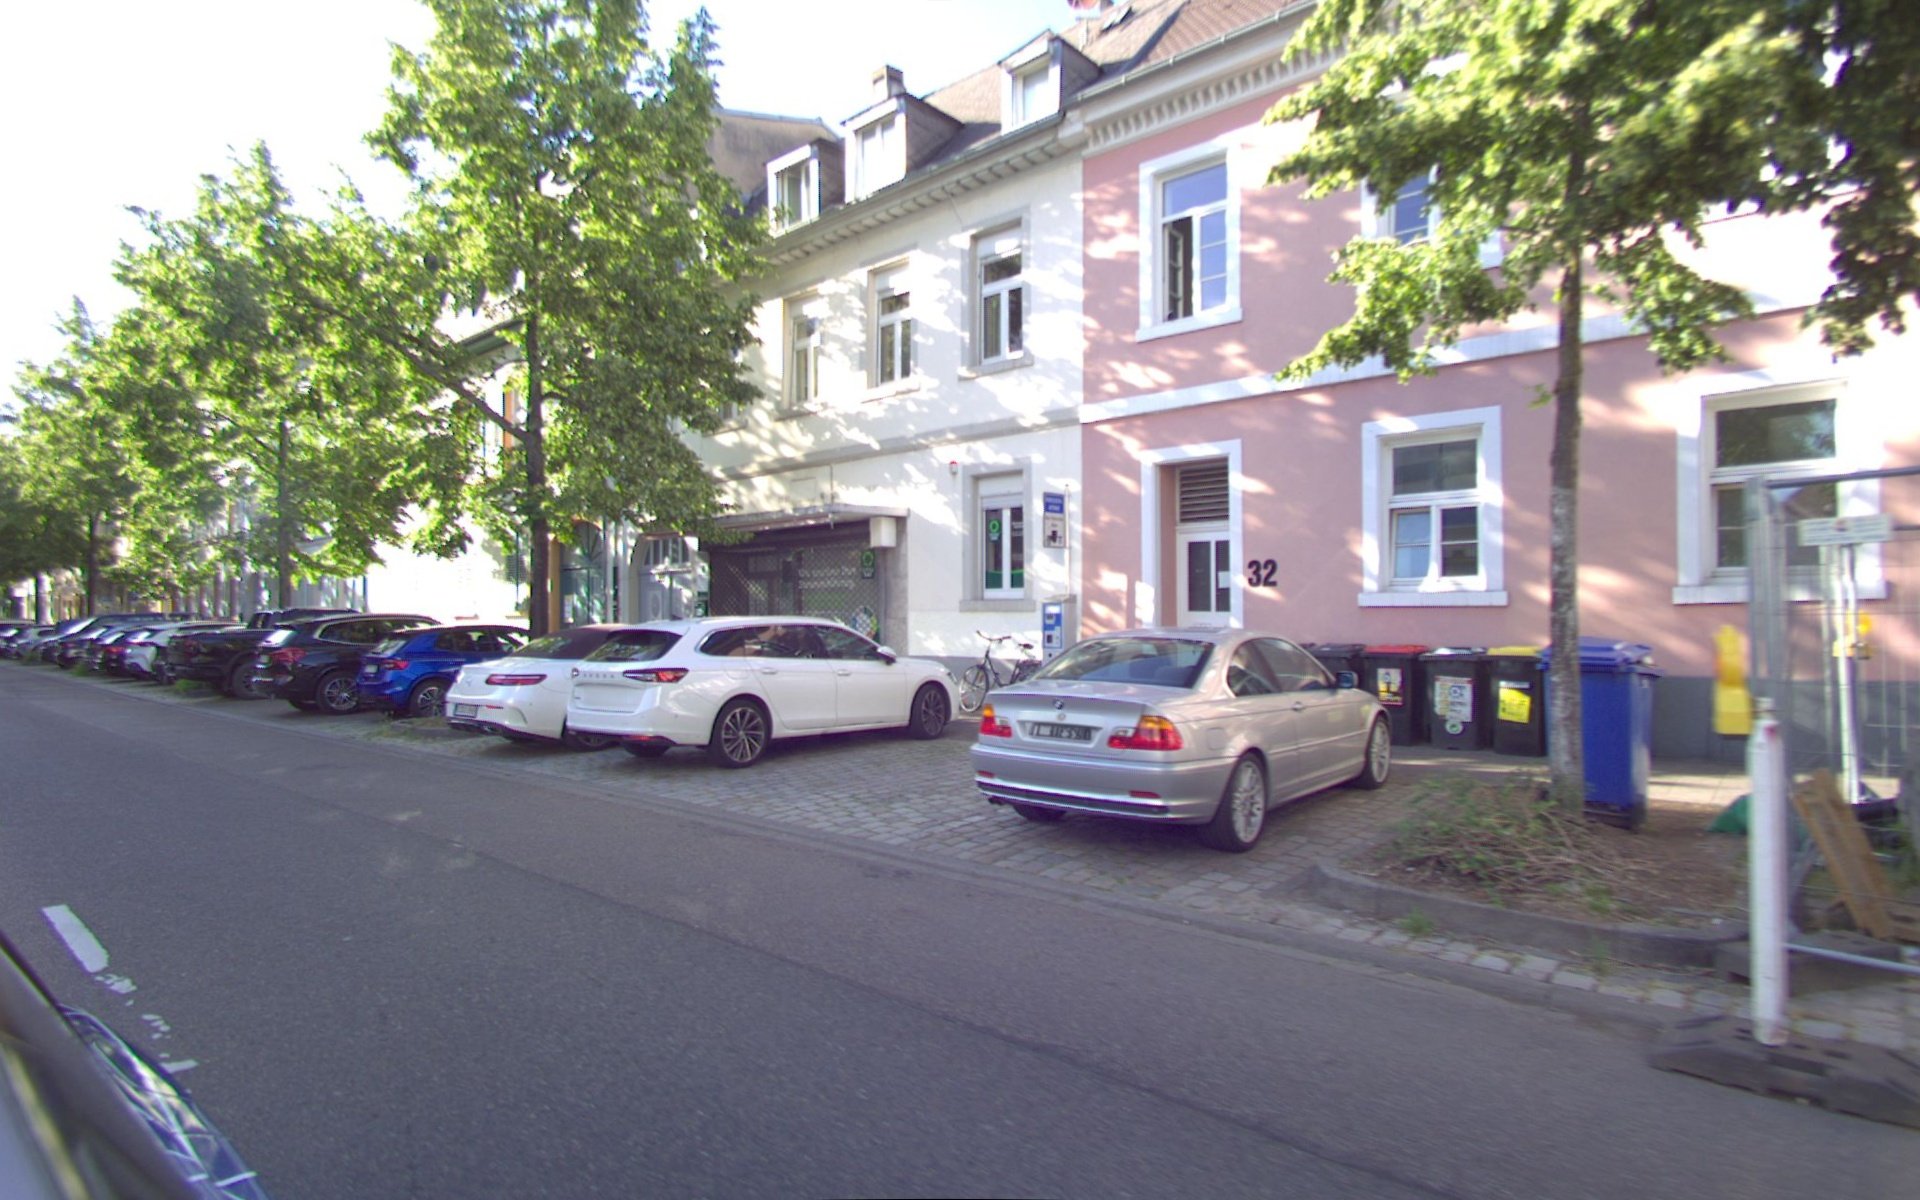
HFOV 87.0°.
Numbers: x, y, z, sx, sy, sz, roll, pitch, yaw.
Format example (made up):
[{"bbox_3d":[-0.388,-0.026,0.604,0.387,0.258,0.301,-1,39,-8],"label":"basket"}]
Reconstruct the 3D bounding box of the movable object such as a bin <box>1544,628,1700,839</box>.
[{"bbox_3d":[4.076,0.774,6.268,0.743,1.195,0.725,-1,-2,33],"label":"movable object such as a bin"}]

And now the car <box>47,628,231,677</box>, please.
[{"bbox_3d":[-27.565,1.705,34.109,1.683,1.470,4.597,-2,-1,41],"label":"car"}]

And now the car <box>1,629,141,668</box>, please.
[{"bbox_3d":[-39.190,2.099,44.700,1.915,1.552,4.420,-2,-1,40],"label":"car"}]

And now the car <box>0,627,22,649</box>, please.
[{"bbox_3d":[-70.954,2.828,72.963,1.997,1.503,4.656,0,1,37],"label":"car"}]

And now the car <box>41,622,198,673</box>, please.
[{"bbox_3d":[-32.175,1.774,38.833,1.916,1.785,4.417,-2,-1,43],"label":"car"}]

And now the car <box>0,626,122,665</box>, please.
[{"bbox_3d":[-42.482,2.104,47.740,1.916,1.722,4.294,-2,-1,41],"label":"car"}]

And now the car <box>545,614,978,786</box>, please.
[{"bbox_3d":[-1.961,0.925,11.265,1.807,1.476,4.632,-2,-1,40],"label":"car"}]

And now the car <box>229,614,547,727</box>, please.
[{"bbox_3d":[-10.031,1.135,18.046,1.808,1.706,4.629,-2,-1,43],"label":"car"}]

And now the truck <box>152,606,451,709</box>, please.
[{"bbox_3d":[-13.959,1.174,21.740,1.999,1.953,5.032,-2,-3,41],"label":"truck"}]

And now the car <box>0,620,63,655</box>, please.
[{"bbox_3d":[-54.503,2.155,57.976,1.930,1.941,4.522,-2,-1,44],"label":"car"}]

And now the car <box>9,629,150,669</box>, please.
[{"bbox_3d":[-37.286,2.036,42.939,1.917,1.552,4.415,-2,-1,45],"label":"car"}]

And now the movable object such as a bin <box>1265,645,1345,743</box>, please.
[{"bbox_3d":[3.953,1.056,11.586,0.640,1.068,0.688,-2,-3,42],"label":"movable object such as a bin"}]

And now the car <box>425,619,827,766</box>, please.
[{"bbox_3d":[-3.990,1.005,12.843,1.806,1.476,4.635,-1,-1,38],"label":"car"}]

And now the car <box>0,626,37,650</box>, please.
[{"bbox_3d":[-65.610,2.582,68.476,1.956,1.556,4.309,-1,-1,30],"label":"car"}]

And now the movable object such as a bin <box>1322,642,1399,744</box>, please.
[{"bbox_3d":[4.417,1.005,11.158,0.574,1.068,0.688,-2,-3,42],"label":"movable object such as a bin"}]

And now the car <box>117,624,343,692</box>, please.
[{"bbox_3d":[-19.281,1.462,26.887,1.808,1.584,4.629,-2,-1,43],"label":"car"}]

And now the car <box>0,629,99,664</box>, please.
[{"bbox_3d":[-44.772,2.232,49.116,1.917,1.552,4.417,-2,-1,43],"label":"car"}]

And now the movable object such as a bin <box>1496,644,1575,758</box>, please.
[{"bbox_3d":[5.683,0.971,9.993,0.544,1.068,0.625,-2,-3,42],"label":"movable object such as a bin"}]

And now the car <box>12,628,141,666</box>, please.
[{"bbox_3d":[-40.653,2.127,46.631,1.808,1.594,4.294,-2,-1,41],"label":"car"}]

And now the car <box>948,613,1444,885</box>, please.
[{"bbox_3d":[2.098,0.834,7.772,1.807,1.423,4.633,-2,-1,40],"label":"car"}]

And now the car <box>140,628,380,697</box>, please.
[{"bbox_3d":[-17.274,1.474,25.159,1.808,1.474,4.629,-2,-1,43],"label":"car"}]

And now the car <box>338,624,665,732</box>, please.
[{"bbox_3d":[-7.437,1.170,16.810,1.808,1.474,4.629,-2,-1,43],"label":"car"}]

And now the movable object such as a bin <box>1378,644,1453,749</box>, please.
[{"bbox_3d":[4.854,1.000,10.781,0.544,1.068,0.625,-2,-3,42],"label":"movable object such as a bin"}]

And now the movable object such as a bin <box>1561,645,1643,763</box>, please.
[{"bbox_3d":[6.114,0.963,9.631,0.544,1.068,0.625,-2,-3,42],"label":"movable object such as a bin"}]

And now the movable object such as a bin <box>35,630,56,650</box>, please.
[{"bbox_3d":[-69.414,3.002,76.808,1.382,1.455,1.121,-2,-1,45],"label":"movable object such as a bin"}]

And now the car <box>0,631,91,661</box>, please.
[{"bbox_3d":[-48.483,2.372,52.991,1.915,1.450,4.296,-2,-1,39],"label":"car"}]

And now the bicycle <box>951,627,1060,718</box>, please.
[{"bbox_3d":[0.644,1.027,14.665,1.627,1.255,0.499,-2,-3,41],"label":"bicycle"}]

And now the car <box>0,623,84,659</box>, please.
[{"bbox_3d":[-50.605,2.221,54.917,1.912,1.848,4.301,-1,-1,36],"label":"car"}]

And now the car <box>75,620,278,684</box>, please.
[{"bbox_3d":[-23.640,1.518,30.675,1.808,1.725,4.629,-2,-1,43],"label":"car"}]

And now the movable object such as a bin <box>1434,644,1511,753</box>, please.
[{"bbox_3d":[5.259,0.985,10.384,0.544,1.068,0.625,-2,-3,42],"label":"movable object such as a bin"}]

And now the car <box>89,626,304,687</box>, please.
[{"bbox_3d":[-21.472,1.528,28.603,1.808,1.531,4.629,-2,-1,43],"label":"car"}]

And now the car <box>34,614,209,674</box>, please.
[{"bbox_3d":[-29.960,1.520,36.254,1.916,1.965,4.629,-2,-1,43],"label":"car"}]

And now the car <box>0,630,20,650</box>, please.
[{"bbox_3d":[-79.568,3.283,82.434,1.945,1.556,4.291,-2,-1,43],"label":"car"}]
